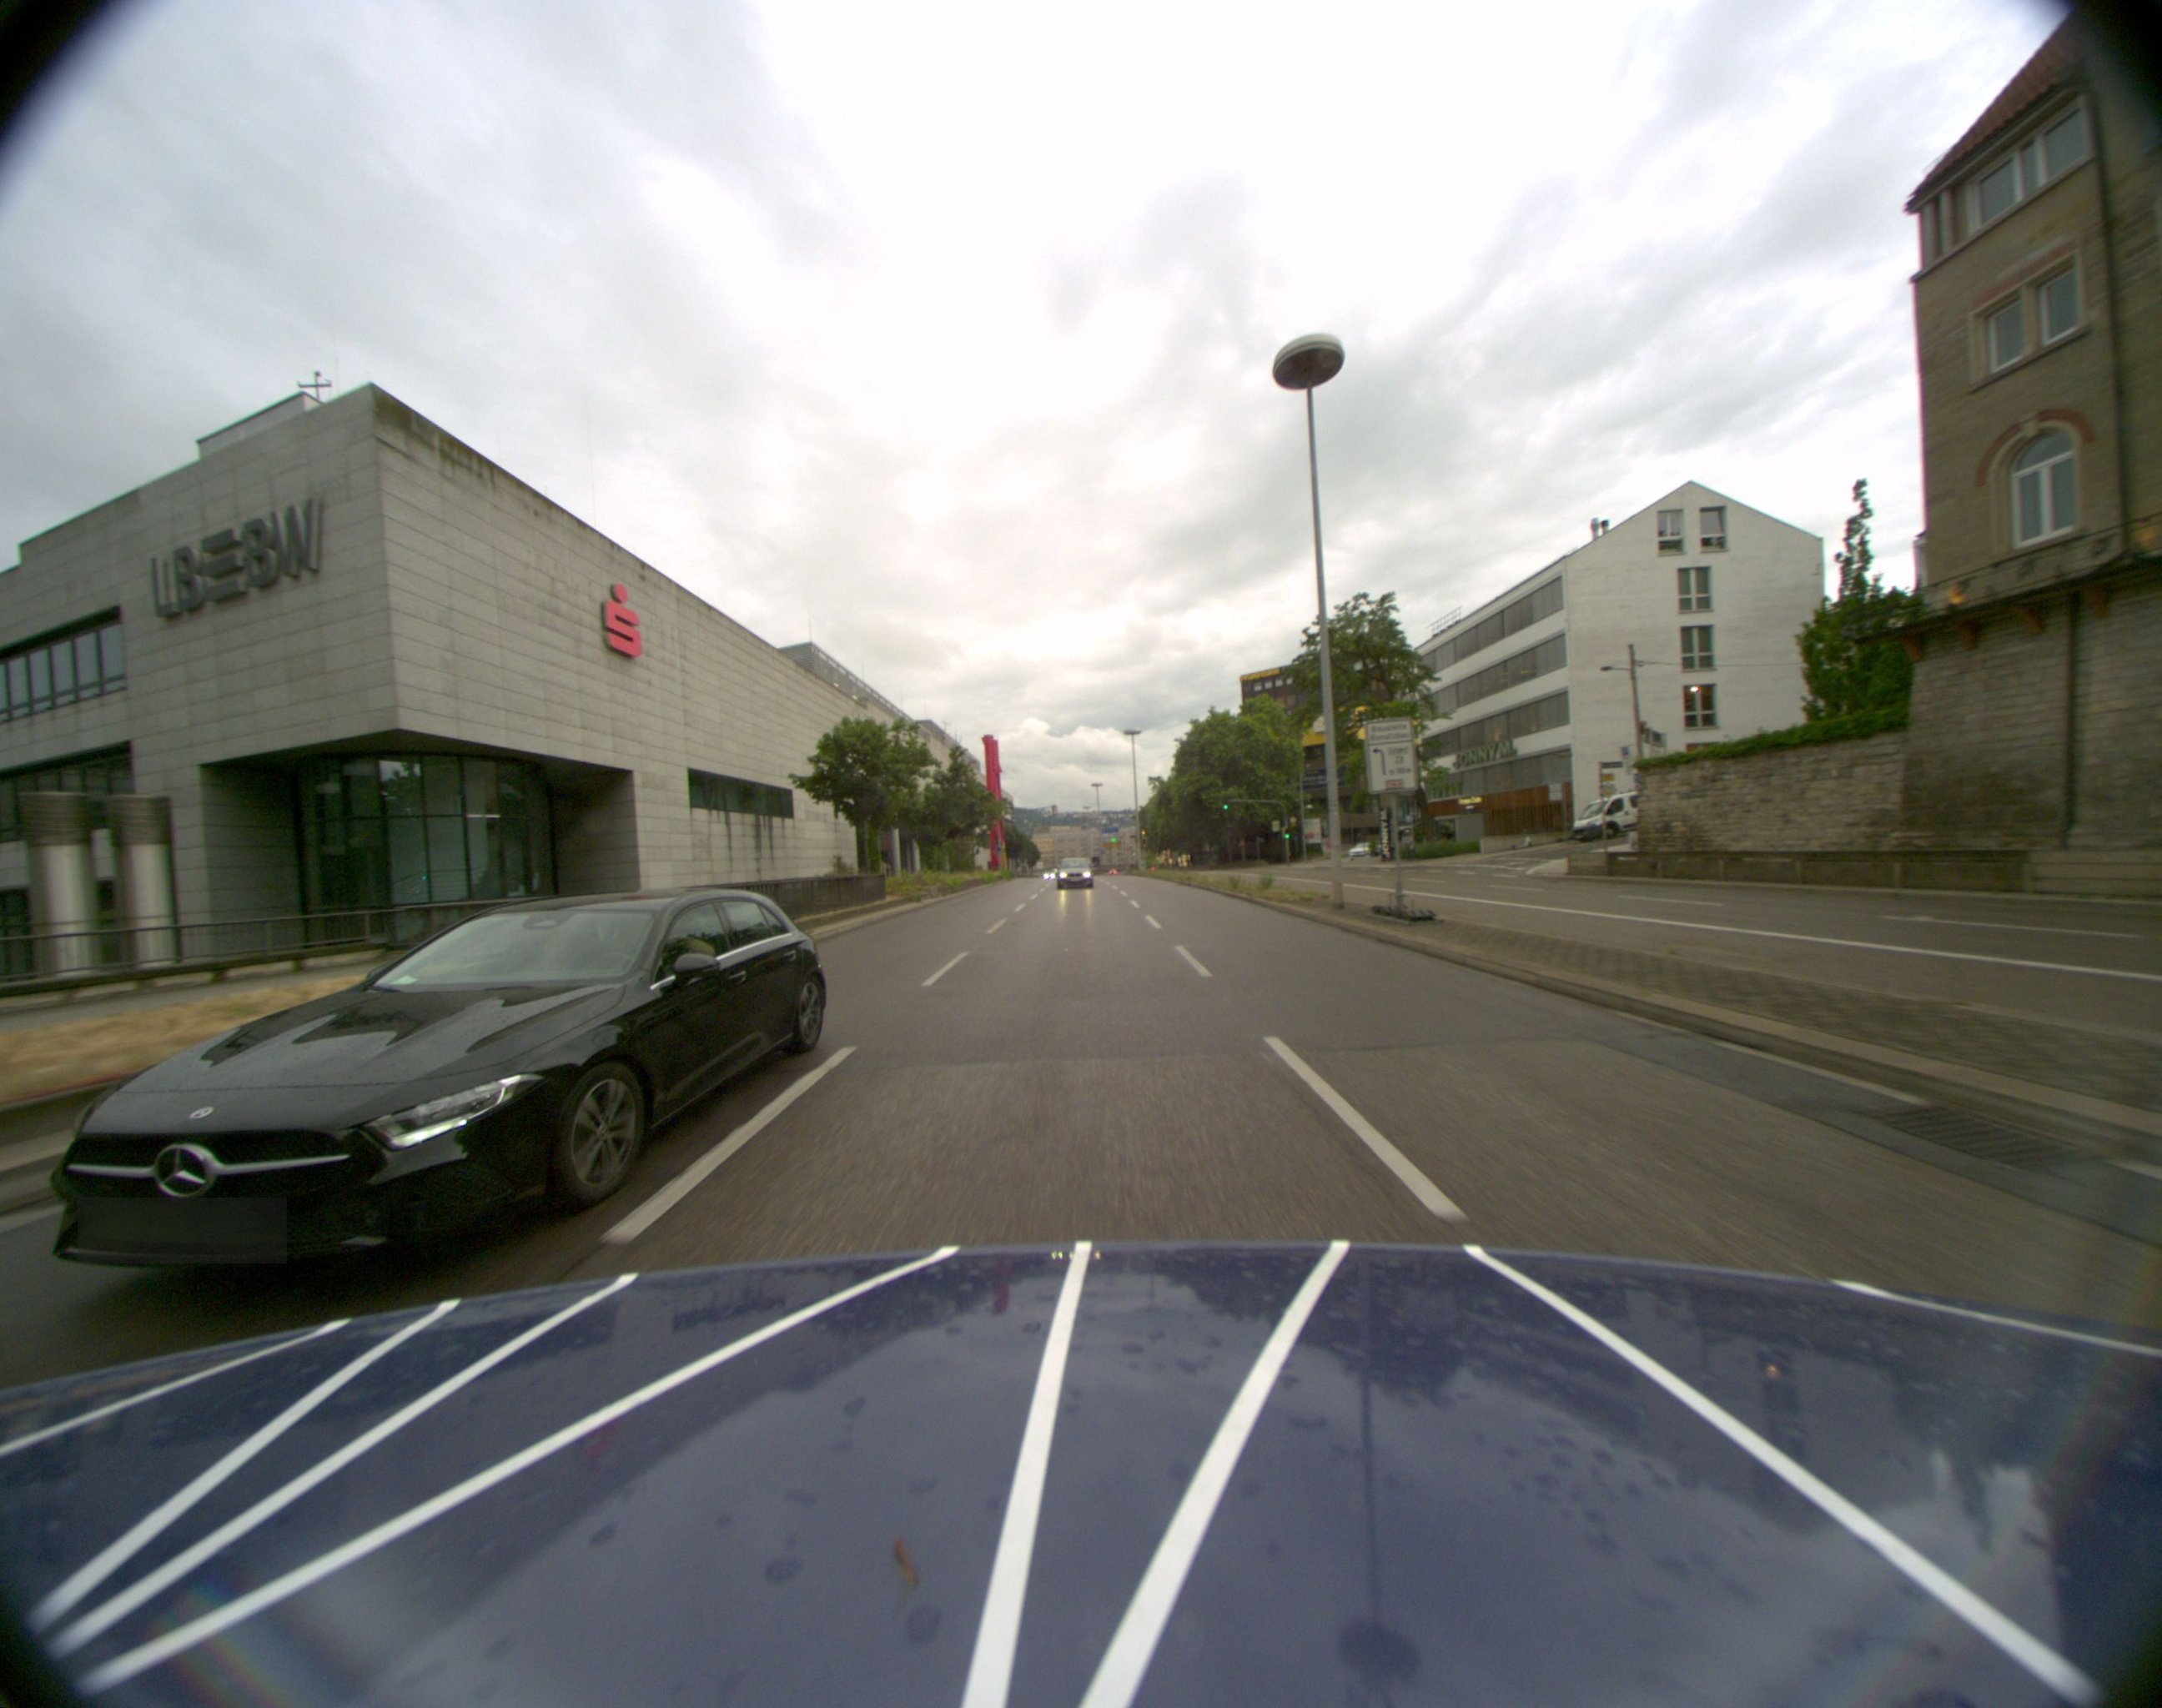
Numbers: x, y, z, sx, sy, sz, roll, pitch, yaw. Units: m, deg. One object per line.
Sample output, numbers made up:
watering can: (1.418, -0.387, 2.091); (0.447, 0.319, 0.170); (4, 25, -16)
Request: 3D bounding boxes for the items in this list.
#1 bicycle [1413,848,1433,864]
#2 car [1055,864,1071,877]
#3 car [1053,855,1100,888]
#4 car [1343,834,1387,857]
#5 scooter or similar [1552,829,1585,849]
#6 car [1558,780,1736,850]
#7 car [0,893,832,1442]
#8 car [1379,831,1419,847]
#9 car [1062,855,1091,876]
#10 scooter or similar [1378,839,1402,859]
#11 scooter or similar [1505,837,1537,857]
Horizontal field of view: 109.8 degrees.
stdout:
bicycle: (21.121, 0.132, 46.962); (0.458, 0.985, 1.758); (-3, 0, 0)
car: (-2.220, 1.940, 92.148); (1.863, 1.428, 4.204); (-2, 0, -1)
car: (-0.145, 0.794, 36.841); (1.862, 1.428, 4.206); (-1, 0, 5)
car: (24.777, -0.746, 66.181); (1.995, 1.644, 4.852); (-5, 0, 39)
scooter or similar: (27.240, -0.810, 42.458); (1.473, 0.916, 0.444); (-7, -1, -2)
car: (29.001, -1.958, 39.128); (6.919, 2.261, 2.516); (-9, -4, 1)
car: (-3.103, 1.081, 4.426); (1.877, 1.428, 4.205); (-2, 0, 0)
car: (38.060, -1.828, 91.039); (3.989, 1.674, 1.824); (-3, 0, 43)
car: (-0.250, 0.851, 53.748); (1.863, 1.449, 4.207); (0, -2, 2)
scooter or similar: (20.807, -0.334, 51.180); (1.758, 1.240, 0.369); (-6, 1, -29)
scooter or similar: (24.722, -0.392, 42.699); (1.473, 0.916, 0.444); (-7, -1, -2)
